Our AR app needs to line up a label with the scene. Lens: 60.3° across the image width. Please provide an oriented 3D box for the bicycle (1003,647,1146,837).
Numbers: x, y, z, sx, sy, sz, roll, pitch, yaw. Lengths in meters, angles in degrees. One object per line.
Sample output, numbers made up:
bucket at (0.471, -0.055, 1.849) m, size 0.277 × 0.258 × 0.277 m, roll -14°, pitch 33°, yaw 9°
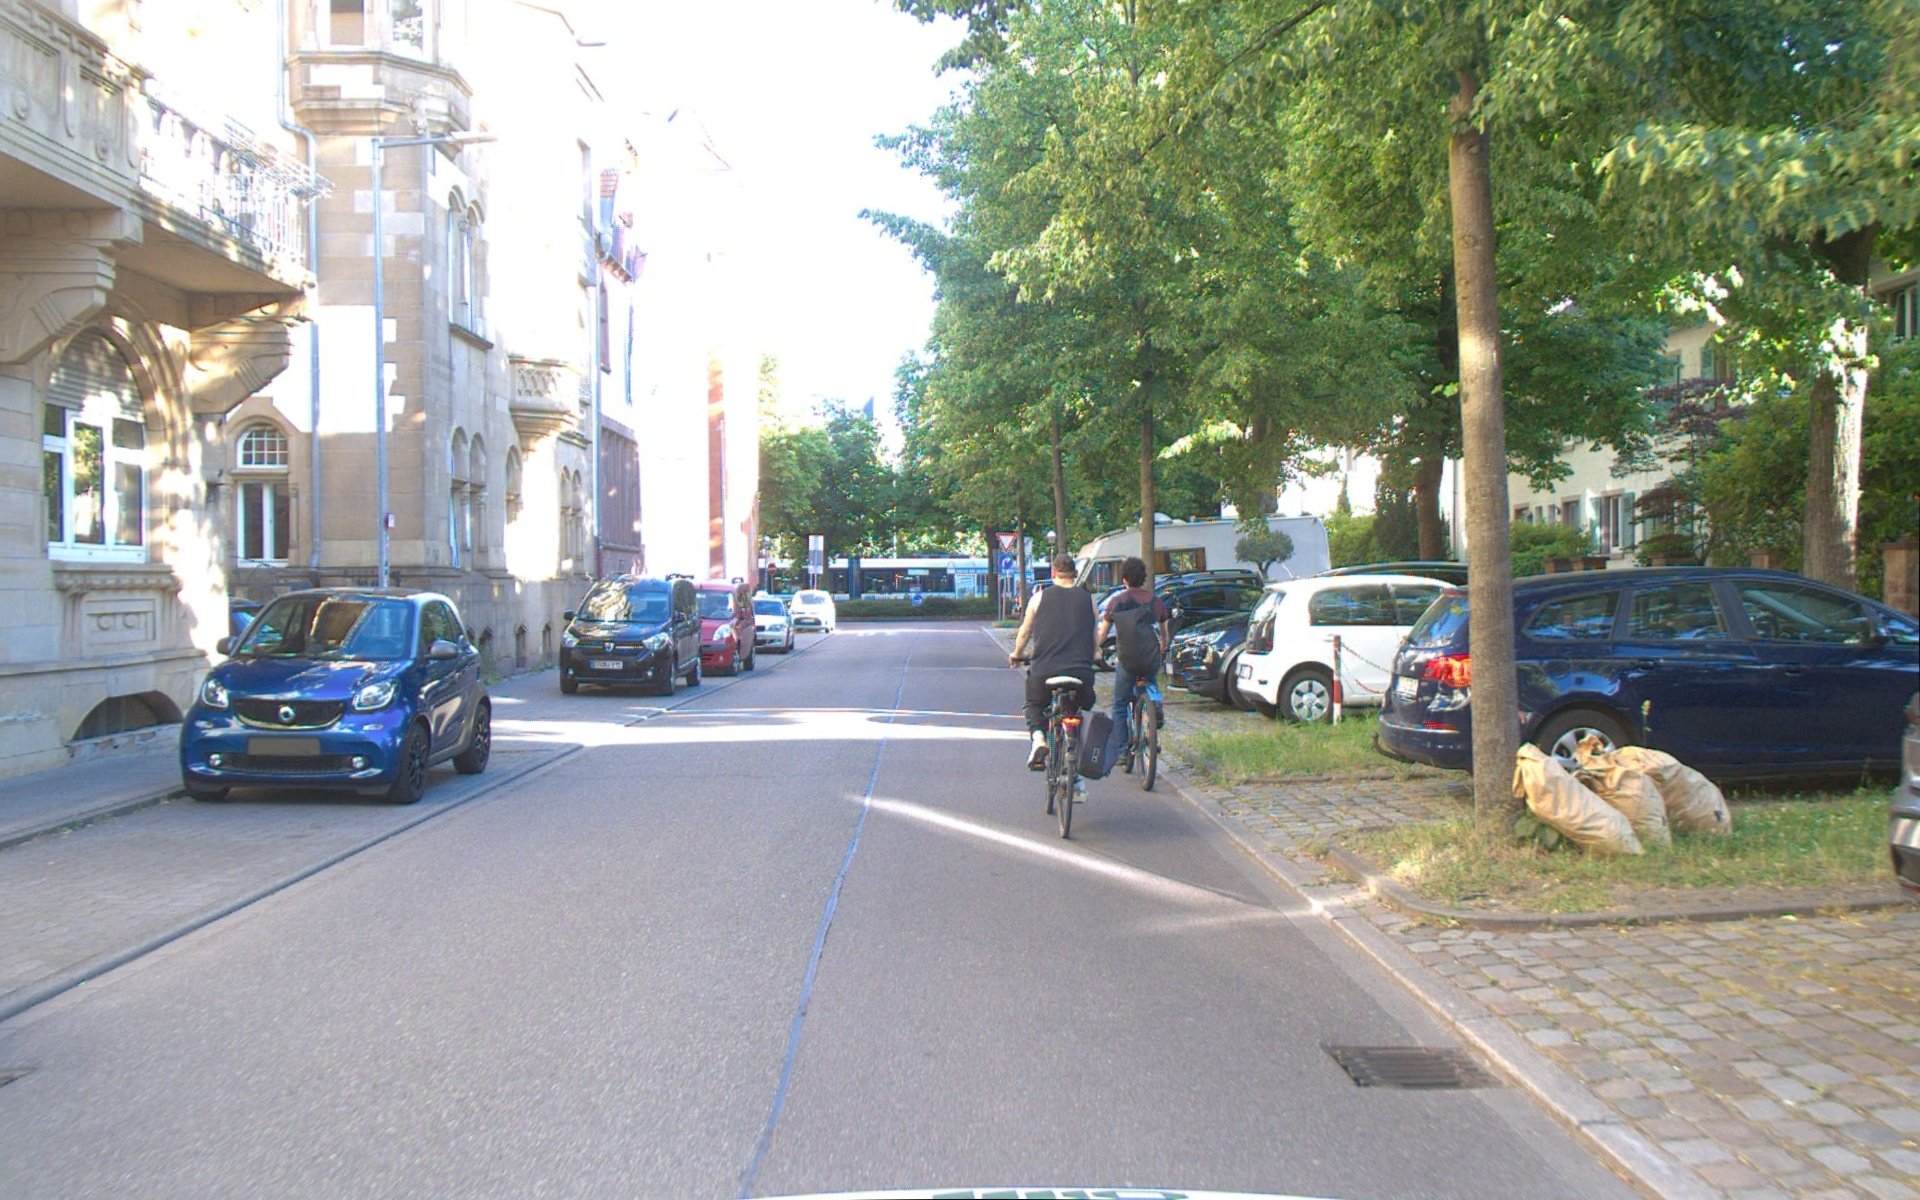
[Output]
bicycle at (0.707, 0.875, 10.828) m, size 0.722 × 1.072 × 1.955 m, roll 1°, pitch 0°, yaw -2°

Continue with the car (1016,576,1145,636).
car at (3.803, 0.182, 52.726) m, size 3.907 × 1.835 × 1.833 m, roll 1°, pitch 0°, yaw -3°

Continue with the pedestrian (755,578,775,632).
pedestrian at (-6.468, 0.164, 54.853) m, size 0.596 × 1.793 × 0.432 m, roll 1°, pitch -1°, yaw -1°

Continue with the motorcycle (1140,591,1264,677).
motorcycle at (3.398, 0.476, 23.234) m, size 1.574 × 1.160 × 0.671 m, roll -1°, pitch 0°, yaw 32°

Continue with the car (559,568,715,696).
car at (-5.002, 0.433, 26.149) m, size 1.607 × 1.814 × 4.354 m, roll 1°, pitch 1°, yaw 0°

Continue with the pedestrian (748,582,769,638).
pedestrian at (-6.271, 0.307, 51.450) m, size 0.596 × 1.708 × 0.518 m, roll 1°, pitch -1°, yaw -1°

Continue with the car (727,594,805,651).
car at (-5.080, 0.558, 43.694) m, size 1.551 × 1.367 × 4.131 m, roll 1°, pitch 1°, yaw 0°

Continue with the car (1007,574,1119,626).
car at (3.741, 0.017, 60.612) m, size 3.907 × 1.835 × 1.833 m, roll 1°, pitch 0°, yaw -3°

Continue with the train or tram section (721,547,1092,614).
train or tram section at (-3.072, -1.113, 103.980) m, size 23.486 × 3.773 × 4.255 m, roll 1°, pitch 0°, yaw -24°

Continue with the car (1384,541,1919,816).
car at (5.126, 0.489, 11.045) m, size 4.136 × 1.628 × 1.691 m, roll -1°, pitch -2°, yaw 1°

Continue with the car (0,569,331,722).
car at (-9.723, 0.500, 19.275) m, size 4.114 × 1.697 × 1.718 m, roll 0°, pitch 0°, yaw -3°

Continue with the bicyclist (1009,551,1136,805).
bicyclist at (0.717, 0.489, 10.777) m, size 0.715 × 1.575 × 0.884 m, roll 1°, pitch -1°, yaw -2°

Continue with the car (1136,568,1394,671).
car at (5.180, 0.341, 28.404) m, size 4.057 × 1.628 × 1.701 m, roll -1°, pitch -1°, yaw -4°

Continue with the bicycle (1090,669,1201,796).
bicycle at (1.433, 1.010, 13.045) m, size 0.620 × 0.813 × 1.832 m, roll -1°, pitch 1°, yaw -1°

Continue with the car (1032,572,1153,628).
car at (4.510, 0.006, 56.494) m, size 3.907 × 1.835 × 1.833 m, roll 1°, pitch 0°, yaw -3°

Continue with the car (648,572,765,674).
car at (-4.986, 0.394, 33.001) m, size 1.654 × 1.857 × 4.272 m, roll 1°, pitch 1°, yaw 0°

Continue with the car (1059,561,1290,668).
car at (3.978, 0.256, 31.048) m, size 4.002 × 1.678 × 1.640 m, roll -4°, pitch 0°, yaw -3°

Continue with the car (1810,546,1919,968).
car at (5.339, 0.520, 5.749) m, size 3.953 × 1.479 × 1.689 m, roll -1°, pitch 0°, yaw -5°

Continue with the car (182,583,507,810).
car at (-4.715, 0.672, 13.034) m, size 1.564 × 1.514 × 2.735 m, roll 3°, pitch 1°, yaw -3°

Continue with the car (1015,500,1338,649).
car at (4.923, -0.584, 38.390) m, size 7.006 × 3.030 × 2.462 m, roll -3°, pitch 0°, yaw -4°

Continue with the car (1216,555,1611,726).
car at (4.684, 0.401, 17.466) m, size 3.695 × 1.627 × 1.691 m, roll -1°, pitch 0°, yaw 1°

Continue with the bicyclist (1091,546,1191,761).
bicyclist at (1.439, 0.411, 13.257) m, size 0.675 × 1.655 × 0.998 m, roll 0°, pitch 0°, yaw -1°

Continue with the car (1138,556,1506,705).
car at (4.282, 0.374, 19.992) m, size 4.053 × 1.628 × 1.702 m, roll -1°, pitch -2°, yaw 1°

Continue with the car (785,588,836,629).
car at (-5.532, 0.299, 61.535) m, size 1.551 × 1.399 × 4.131 m, roll 1°, pitch 1°, yaw 0°
